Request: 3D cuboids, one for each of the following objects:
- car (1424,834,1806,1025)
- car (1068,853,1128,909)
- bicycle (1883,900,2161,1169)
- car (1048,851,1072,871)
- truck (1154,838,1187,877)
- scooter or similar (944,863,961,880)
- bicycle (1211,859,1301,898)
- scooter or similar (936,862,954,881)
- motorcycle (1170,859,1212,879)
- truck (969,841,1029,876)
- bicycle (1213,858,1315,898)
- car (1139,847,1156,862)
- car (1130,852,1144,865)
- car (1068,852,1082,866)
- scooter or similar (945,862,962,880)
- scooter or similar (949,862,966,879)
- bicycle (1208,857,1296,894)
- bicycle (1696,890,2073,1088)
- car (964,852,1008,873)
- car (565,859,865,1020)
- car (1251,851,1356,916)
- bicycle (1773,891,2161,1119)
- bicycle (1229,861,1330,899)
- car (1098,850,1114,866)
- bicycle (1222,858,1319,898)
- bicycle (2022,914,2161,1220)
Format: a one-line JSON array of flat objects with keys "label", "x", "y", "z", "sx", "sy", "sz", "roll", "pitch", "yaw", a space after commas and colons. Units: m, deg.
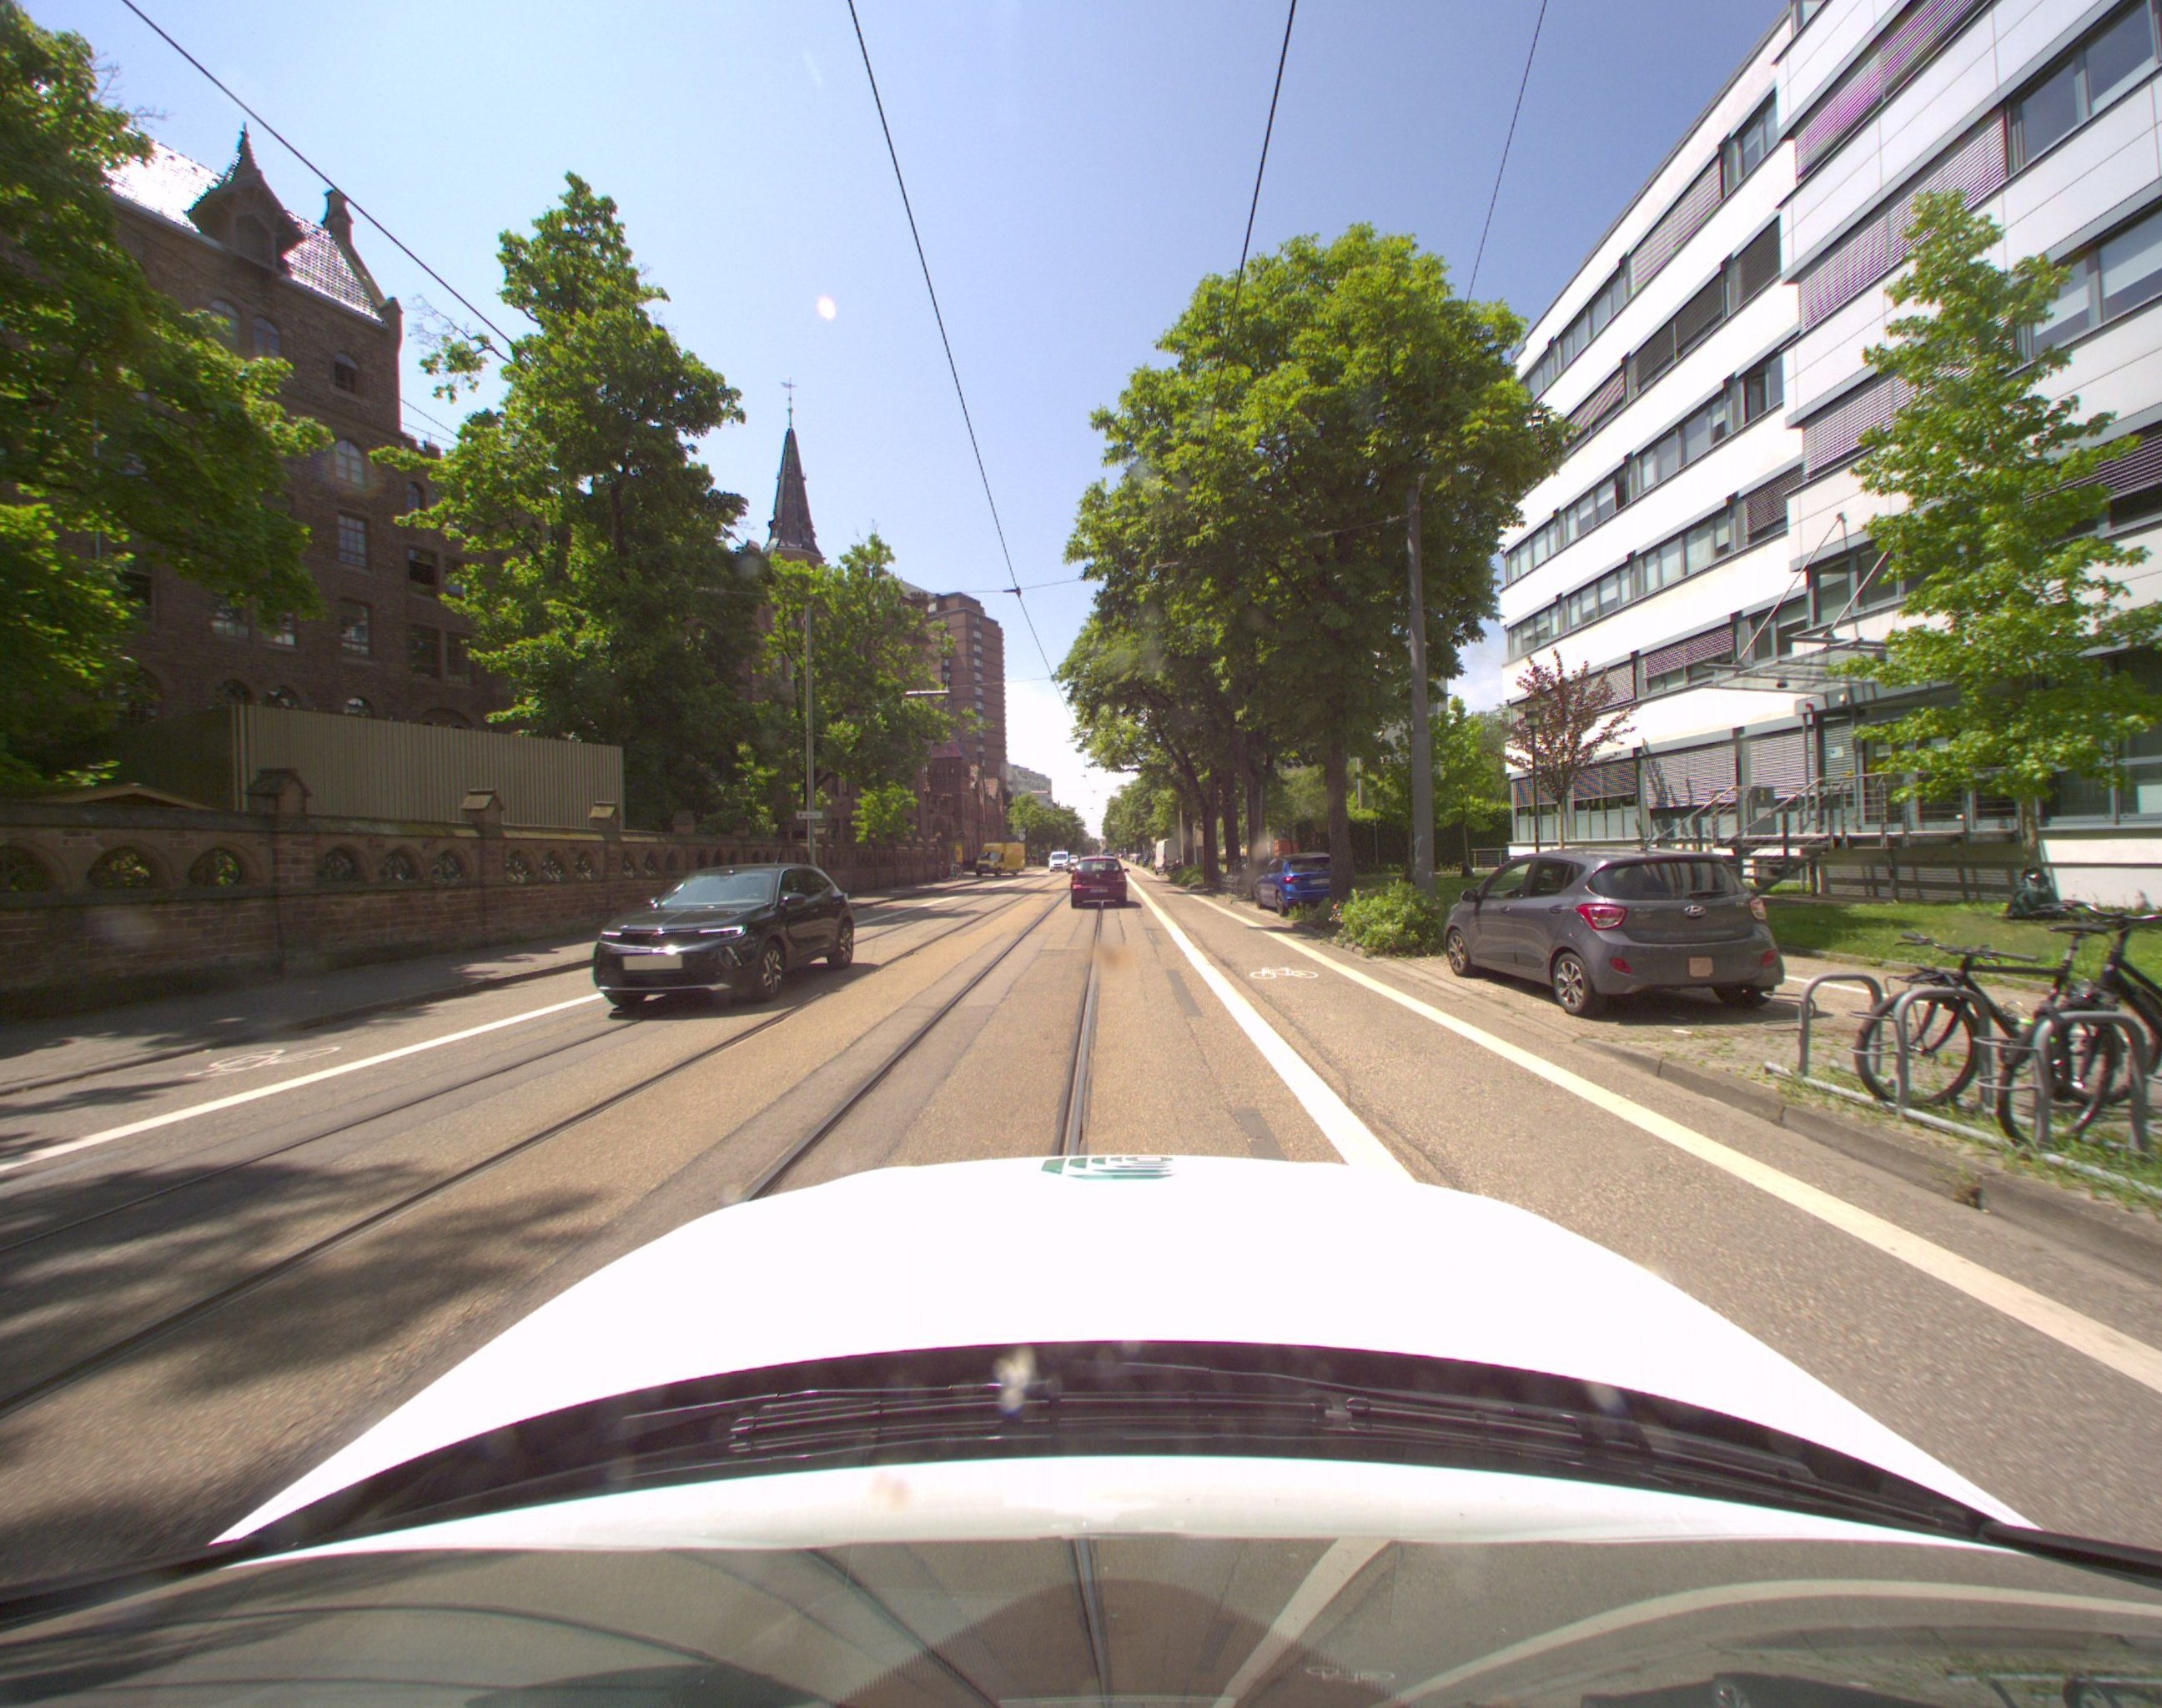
[{"label": "car", "x": 5.225, "y": 0.631, "z": 8.627, "sx": 1.682, "sy": 1.503, "sz": 3.629, "roll": -3, "pitch": 0, "yaw": 2}, {"label": "car", "x": 0.518, "y": 0.733, "z": 24.504, "sx": 1.613, "sy": 1.486, "sz": 4.001, "roll": -2, "pitch": 0, "yaw": 1}, {"label": "bicycle", "x": 4.882, "y": 0.786, "z": 3.775, "sx": 1.744, "sy": 1.085, "sz": 0.549, "roll": -2, "pitch": 0, "yaw": 1}, {"label": "car", "x": -2.027, "y": 0.650, "z": 79.390, "sx": 1.986, "sy": 1.854, "sz": 4.684, "roll": -2, "pitch": 0, "yaw": 2}, {"label": "truck", "x": 6.331, "y": 0.202, "z": 58.213, "sx": 1.986, "sy": 2.662, "sz": 4.877, "roll": 0, "pitch": 0, "yaw": 2}, {"label": "scooter or similar", "x": -8.657, "y": 1.162, "z": 54.780, "sx": 1.092, "sy": 1.155, "sz": 0.524, "roll": 0, "pitch": 0, "yaw": -19}, {"label": "bicycle", "x": 6.246, "y": 0.868, "z": 29.138, "sx": 3.060, "sy": 1.313, "sz": 0.781, "roll": 0, "pitch": 0, "yaw": -1}, {"label": "scooter or similar", "x": -8.743, "y": 1.115, "z": 52.283, "sx": 1.092, "sy": 1.155, "sz": 0.524, "roll": 0, "pitch": 0, "yaw": -19}, {"label": "motorcycle", "x": 6.798, "y": 0.925, "z": 50.284, "sx": 2.541, "sy": 1.188, "sz": 0.943, "roll": 0, "pitch": 0, "yaw": 7}, {"label": "truck", "x": -6.906, "y": 0.359, "z": 69.881, "sx": 2.351, "sy": 2.787, "sz": 7.353, "roll": -2, "pitch": 0, "yaw": 17}, {"label": "bicycle", "x": 6.301, "y": 0.826, "z": 28.141, "sx": 3.357, "sy": 1.313, "sz": 0.781, "roll": 0, "pitch": 0, "yaw": -1}, {"label": "car", "x": 7.303, "y": 0.064, "z": 89.591, "sx": 1.668, "sy": 1.656, "sz": 4.002, "roll": 0, "pitch": 0, "yaw": 2}, {"label": "car", "x": 7.328, "y": 0.565, "z": 107.165, "sx": 1.668, "sy": 1.656, "sz": 4.002, "roll": 0, "pitch": 0, "yaw": 2}, {"label": "car", "x": -0.815, "y": 0.630, "z": 106.210, "sx": 1.668, "sy": 1.656, "sz": 4.002, "roll": 0, "pitch": 0, "yaw": 2}, {"label": "scooter or similar", "x": -8.675, "y": 1.144, "z": 55.403, "sx": 1.092, "sy": 1.155, "sz": 0.524, "roll": 0, "pitch": 0, "yaw": -19}, {"label": "scooter or similar", "x": -8.525, "y": 1.110, "z": 56.302, "sx": 1.092, "sy": 1.155, "sz": 0.524, "roll": 0, "pitch": 0, "yaw": -19}, {"label": "bicycle", "x": 6.283, "y": 0.778, "z": 30.016, "sx": 3.060, "sy": 1.313, "sz": 0.781, "roll": 0, "pitch": 0, "yaw": -1}, {"label": "bicycle", "x": 4.909, "y": 0.803, "z": 5.042, "sx": 1.744, "sy": 1.085, "sz": 0.549, "roll": -2, "pitch": 0, "yaw": 1}, {"label": "car", "x": -9.562, "y": 0.827, "z": 81.910, "sx": 3.967, "sy": 2.013, "sz": 2.003, "roll": -2, "pitch": 0, "yaw": 5}, {"label": "car", "x": -4.188, "y": 0.865, "z": 10.128, "sx": 1.764, "sy": 1.516, "sz": 4.002, "roll": -2, "pitch": 0, "yaw": 2}, {"label": "car", "x": 5.539, "y": 0.679, "z": 20.750, "sx": 1.682, "sy": 1.468, "sz": 3.881, "roll": -2, "pitch": 0, "yaw": 2}, {"label": "bicycle", "x": 4.887, "y": 0.783, "z": 4.423, "sx": 1.744, "sy": 1.085, "sz": 0.549, "roll": -2, "pitch": 0, "yaw": 1}, {"label": "bicycle", "x": 6.359, "y": 0.827, "z": 26.216, "sx": 3.060, "sy": 1.154, "sz": 0.781, "roll": 0, "pitch": 0, "yaw": -1}, {"label": "car", "x": 3.220, "y": 0.533, "z": 105.284, "sx": 1.987, "sy": 2.013, "sz": 3.999, "roll": 0, "pitch": 0, "yaw": 0}, {"label": "bicycle", "x": 6.328, "y": 0.797, "z": 27.271, "sx": 3.060, "sy": 1.313, "sz": 0.781, "roll": 0, "pitch": 0, "yaw": -1}, {"label": "bicycle", "x": 4.874, "y": 0.787, "z": 3.165, "sx": 1.744, "sy": 1.085, "sz": 0.549, "roll": -2, "pitch": 0, "yaw": 1}]
